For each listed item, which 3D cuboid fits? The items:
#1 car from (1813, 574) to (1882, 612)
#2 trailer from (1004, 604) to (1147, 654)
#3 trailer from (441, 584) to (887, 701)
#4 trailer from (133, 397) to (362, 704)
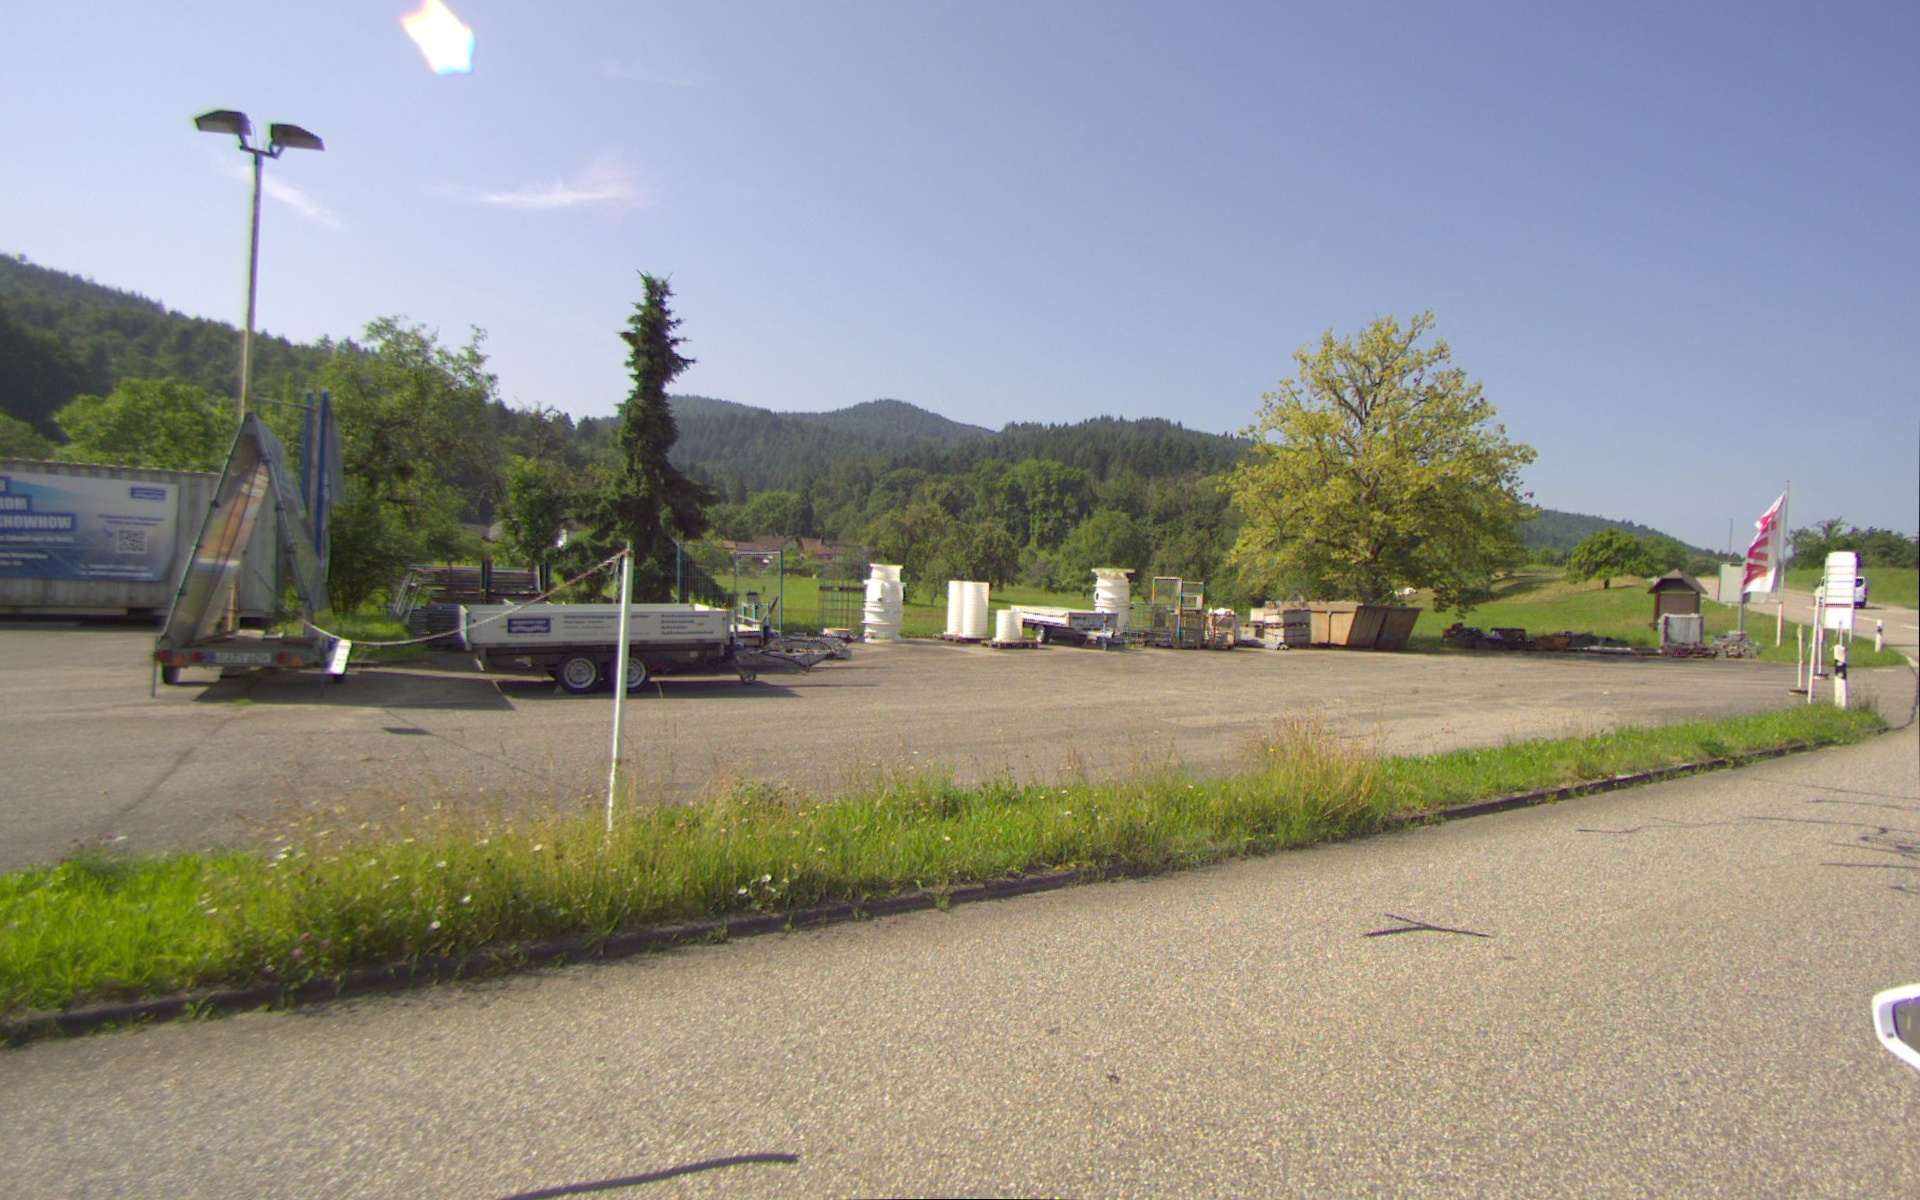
[{"bbox_3d":[56.651,-0.438,64.207,2.189,2.317,4.976,-1,0,28],"label":"car"},{"bbox_3d":[2.947,0.727,26.461,1.844,0.952,3.917,3,2,-27],"label":"trailer"},{"bbox_3d":[-3.898,0.546,13.594,5.480,1.243,1.984,2,2,-30],"label":"trailer"},{"bbox_3d":[-8.032,-0.542,11.597,1.863,2.951,3.372,1,3,-32],"label":"trailer"}]
